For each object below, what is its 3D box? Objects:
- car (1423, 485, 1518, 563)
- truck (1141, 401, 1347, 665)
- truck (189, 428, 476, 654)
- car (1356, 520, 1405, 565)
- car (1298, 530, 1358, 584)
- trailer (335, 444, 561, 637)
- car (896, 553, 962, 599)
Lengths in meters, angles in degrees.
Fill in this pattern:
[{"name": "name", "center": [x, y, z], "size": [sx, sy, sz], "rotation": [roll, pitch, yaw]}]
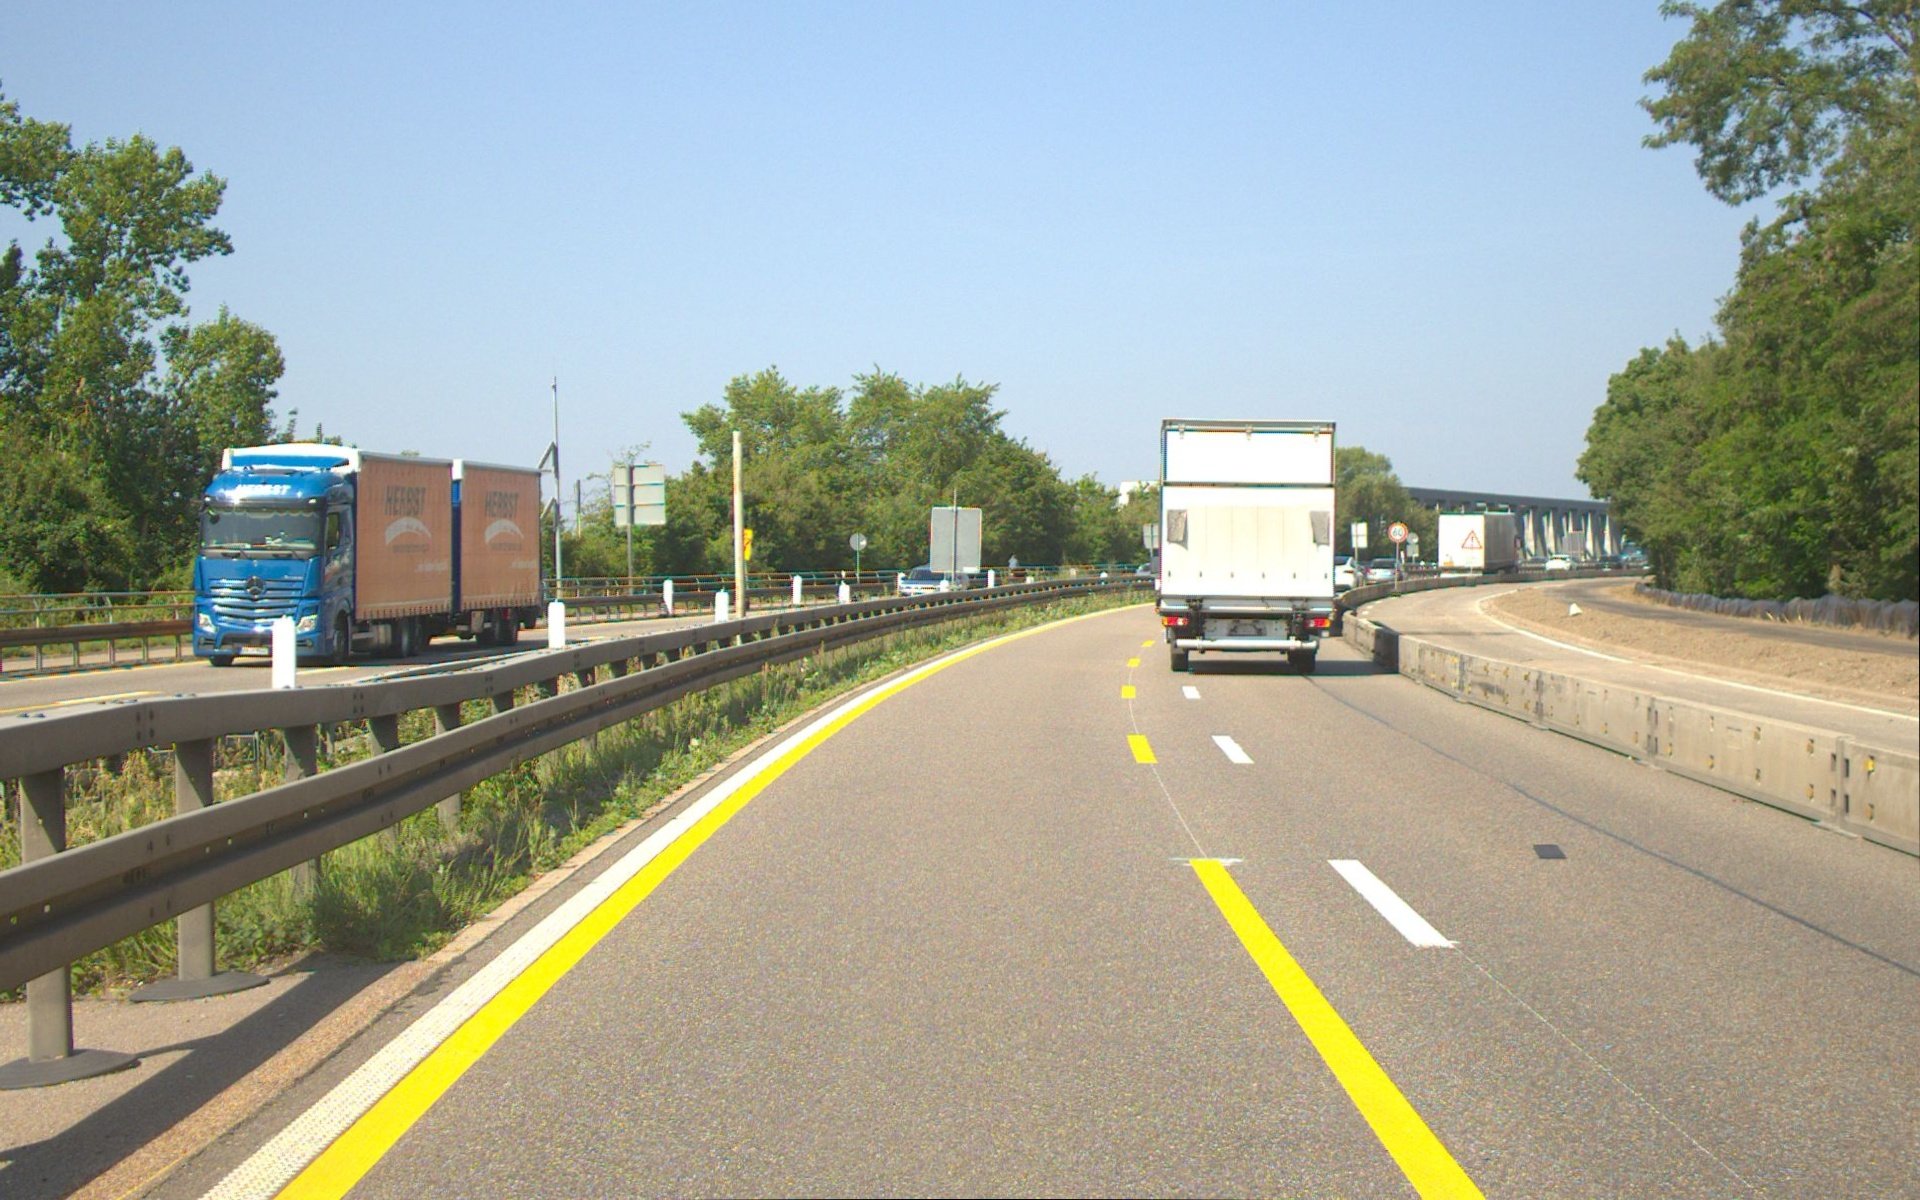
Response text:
[{"name": "car", "center": [29.599, -4.415, 198.737], "size": [4.210, 4.237, 10.655], "rotation": [-2, 1, 14]}, {"name": "truck", "center": [4.003, -0.942, 48.627], "size": [2.635, 3.416, 7.232], "rotation": [1, 1, 5]}, {"name": "truck", "center": [-12.112, -1.171, 67.502], "size": [3.038, 4.077, 10.623], "rotation": [0, 1, 4]}, {"name": "car", "center": [19.663, -2.684, 160.521], "size": [1.994, 2.007, 3.999], "rotation": [-2, 1, 10]}, {"name": "car", "center": [14.819, -1.742, 138.294], "size": [1.994, 2.007, 3.998], "rotation": [-2, 1, 11]}, {"name": "trailer", "center": [-11.430, -1.366, 77.816], "size": [3.038, 4.077, 9.787], "rotation": [0, 1, 4]}, {"name": "car", "center": [-1.163, -0.943, 131.029], "size": [1.910, 1.645, 4.375], "rotation": [-2, 1, 7]}]
